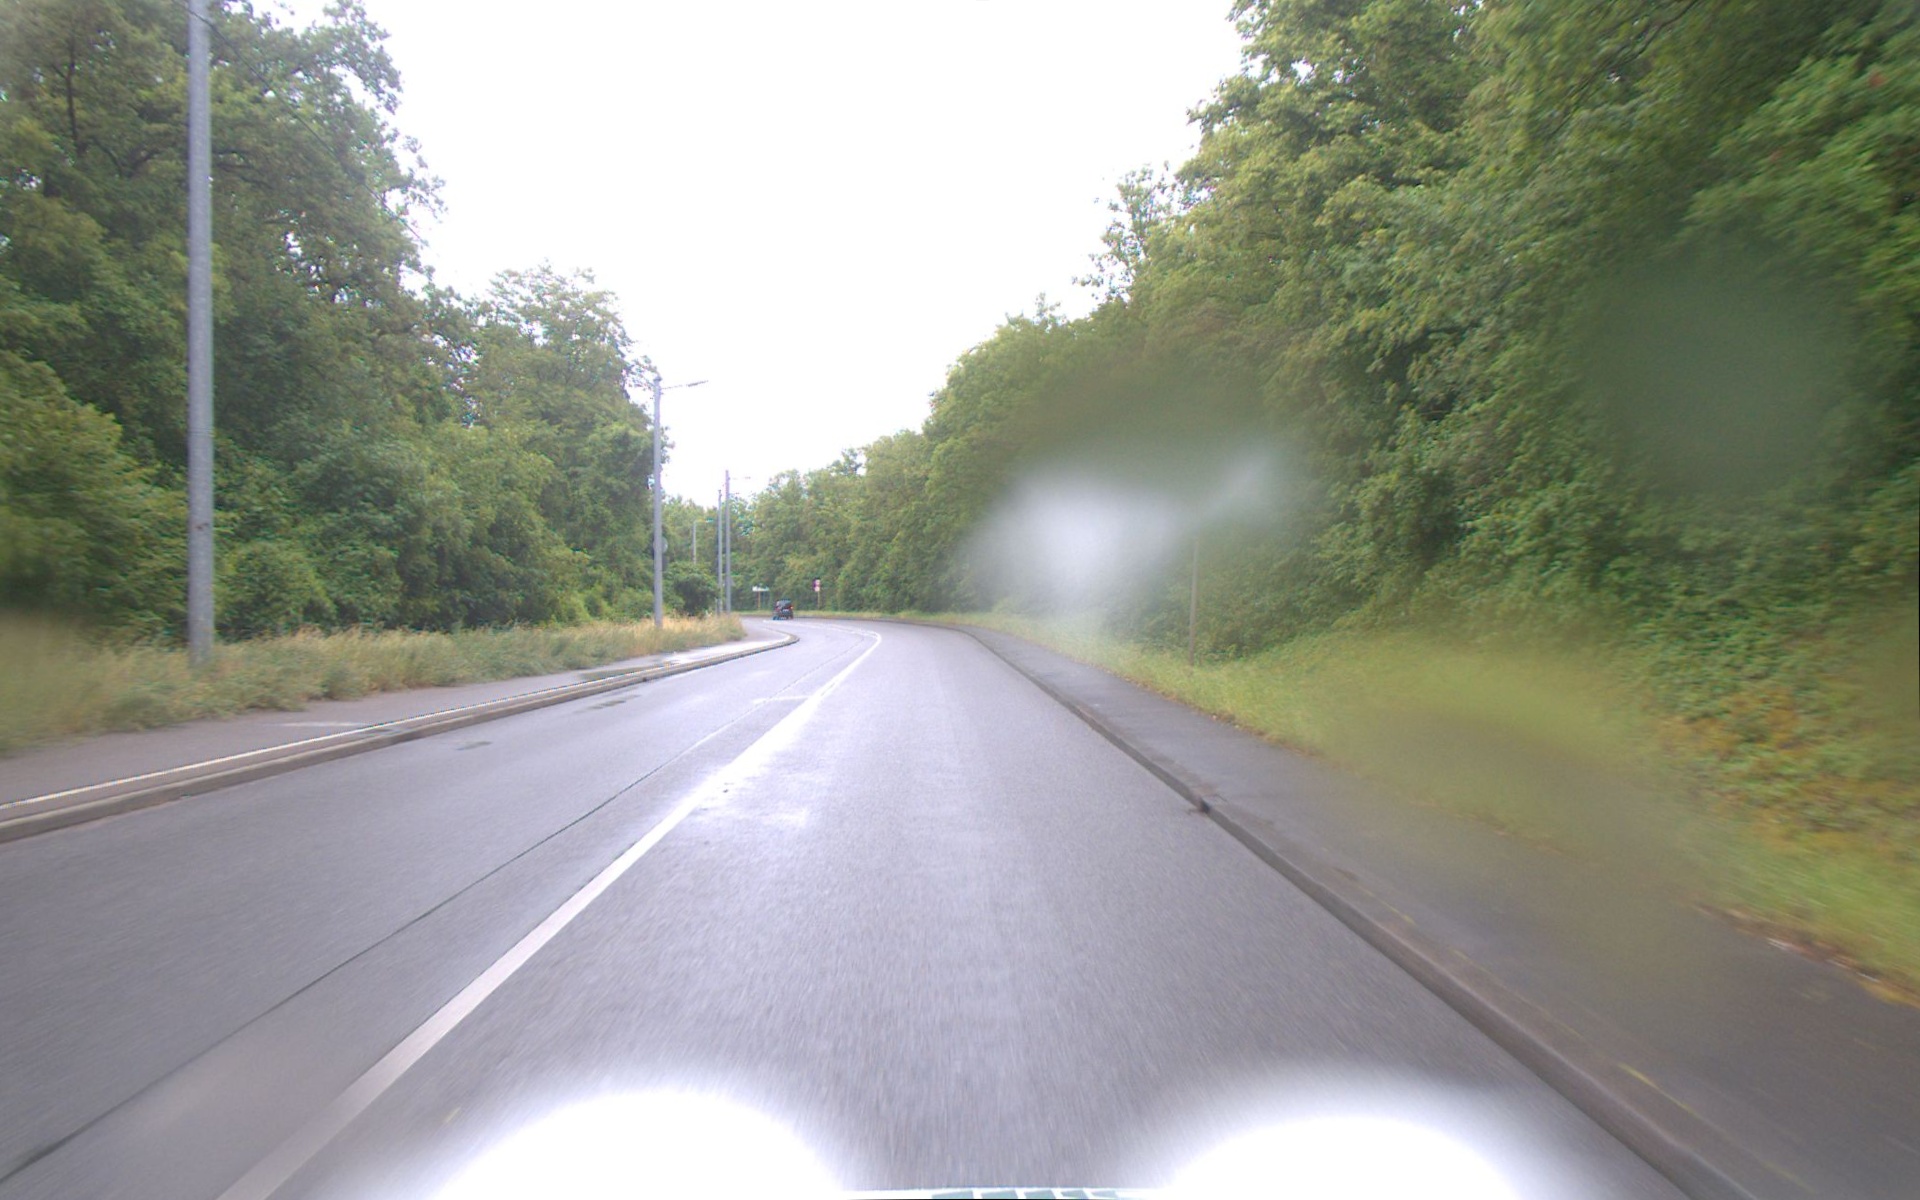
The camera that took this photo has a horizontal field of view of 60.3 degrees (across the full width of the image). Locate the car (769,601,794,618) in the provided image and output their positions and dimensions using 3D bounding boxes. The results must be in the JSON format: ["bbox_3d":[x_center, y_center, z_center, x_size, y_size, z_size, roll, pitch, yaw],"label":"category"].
[{"bbox_3d":[-18.143,0.991,168.378,1.837,1.624,3.983,4,-1,-15],"label":"car"}]
